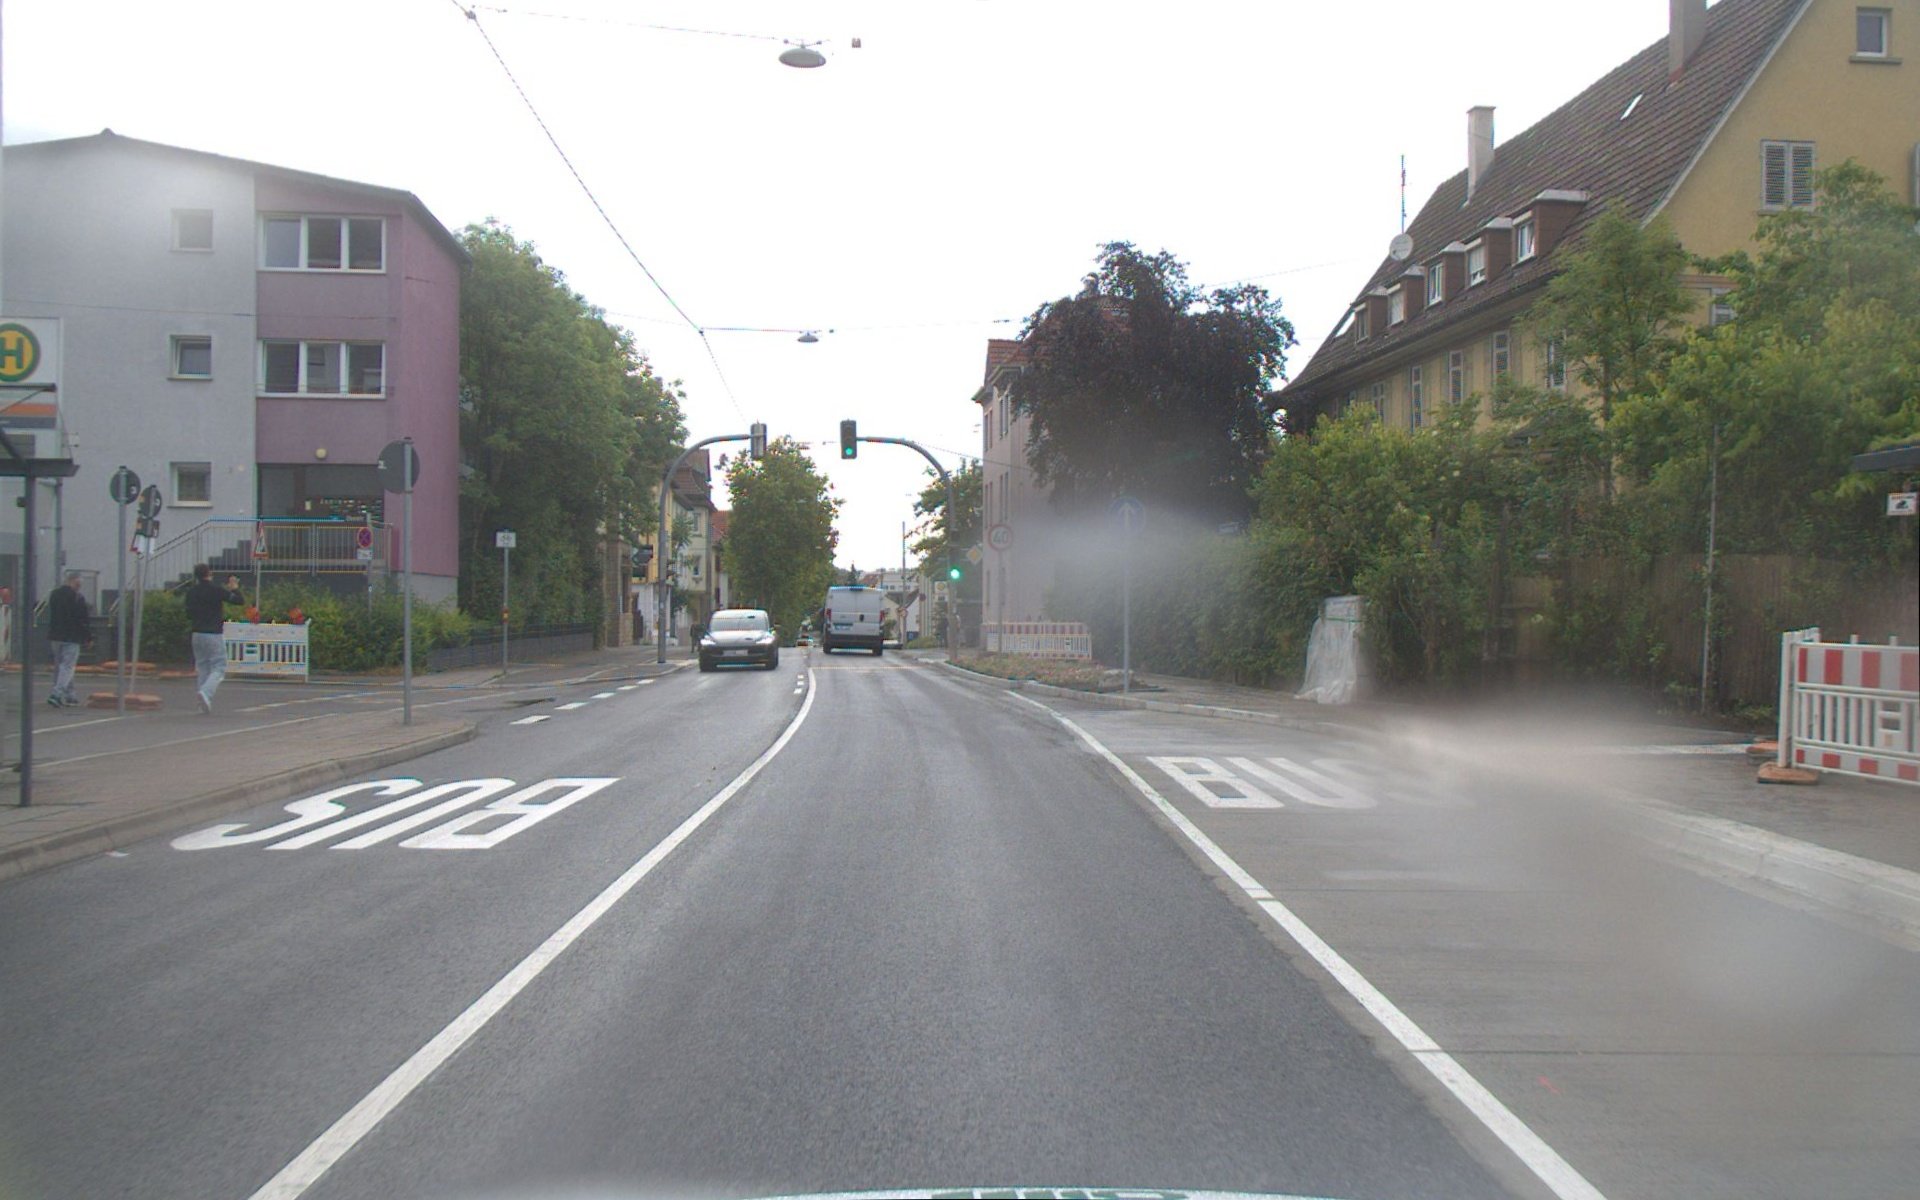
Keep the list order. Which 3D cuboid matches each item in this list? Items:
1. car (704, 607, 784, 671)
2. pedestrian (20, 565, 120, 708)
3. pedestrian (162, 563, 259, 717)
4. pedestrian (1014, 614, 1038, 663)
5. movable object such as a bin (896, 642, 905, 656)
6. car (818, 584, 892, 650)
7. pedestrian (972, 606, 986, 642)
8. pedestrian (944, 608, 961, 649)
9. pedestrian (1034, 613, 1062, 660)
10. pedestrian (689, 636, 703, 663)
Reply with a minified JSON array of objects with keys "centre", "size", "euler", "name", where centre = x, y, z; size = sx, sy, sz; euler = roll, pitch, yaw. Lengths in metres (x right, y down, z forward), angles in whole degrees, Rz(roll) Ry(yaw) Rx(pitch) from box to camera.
[{"centre":[-5.245,0.915,40.579],"size":[1.748,1.478,4.385],"euler":[0,0,-5],"name":"car"},{"centre":[-11.879,0.478,22.109],"size":[0.790,1.853,1.115],"euler":[1,0,-6],"name":"pedestrian"},{"centre":[-9.601,0.497,21.233],"size":[0.845,1.915,1.042],"euler":[0,0,-7],"name":"pedestrian"},{"centre":[2.310,1.355,57.948],"size":[0.768,1.671,1.222],"euler":[1,-2,-1],"name":"pedestrian"},{"centre":[-5.132,4.191,141.863],"size":[0.681,1.101,0.778],"euler":[-3,-2,-4],"name":"movable object such as a bin"},{"centre":[-3.709,0.590,57.501],"size":[2.302,2.198,4.769],"euler":[0,-1,-7],"name":"car"},{"centre":[1.007,1.279,87.018],"size":[0.633,1.864,0.742],"euler":[-1,-2,9],"name":"pedestrian"},{"centre":[-0.354,1.347,77.565],"size":[0.477,1.908,0.632],"euler":[-3,-1,26],"name":"pedestrian"},{"centre":[3.010,1.267,56.735],"size":[0.857,1.588,1.048],"euler":[1,-2,-2],"name":"pedestrian"},{"centre":[-17.090,3.206,107.011],"size":[0.800,1.709,0.991],"euler":[1,-3,-7],"name":"pedestrian"}]
